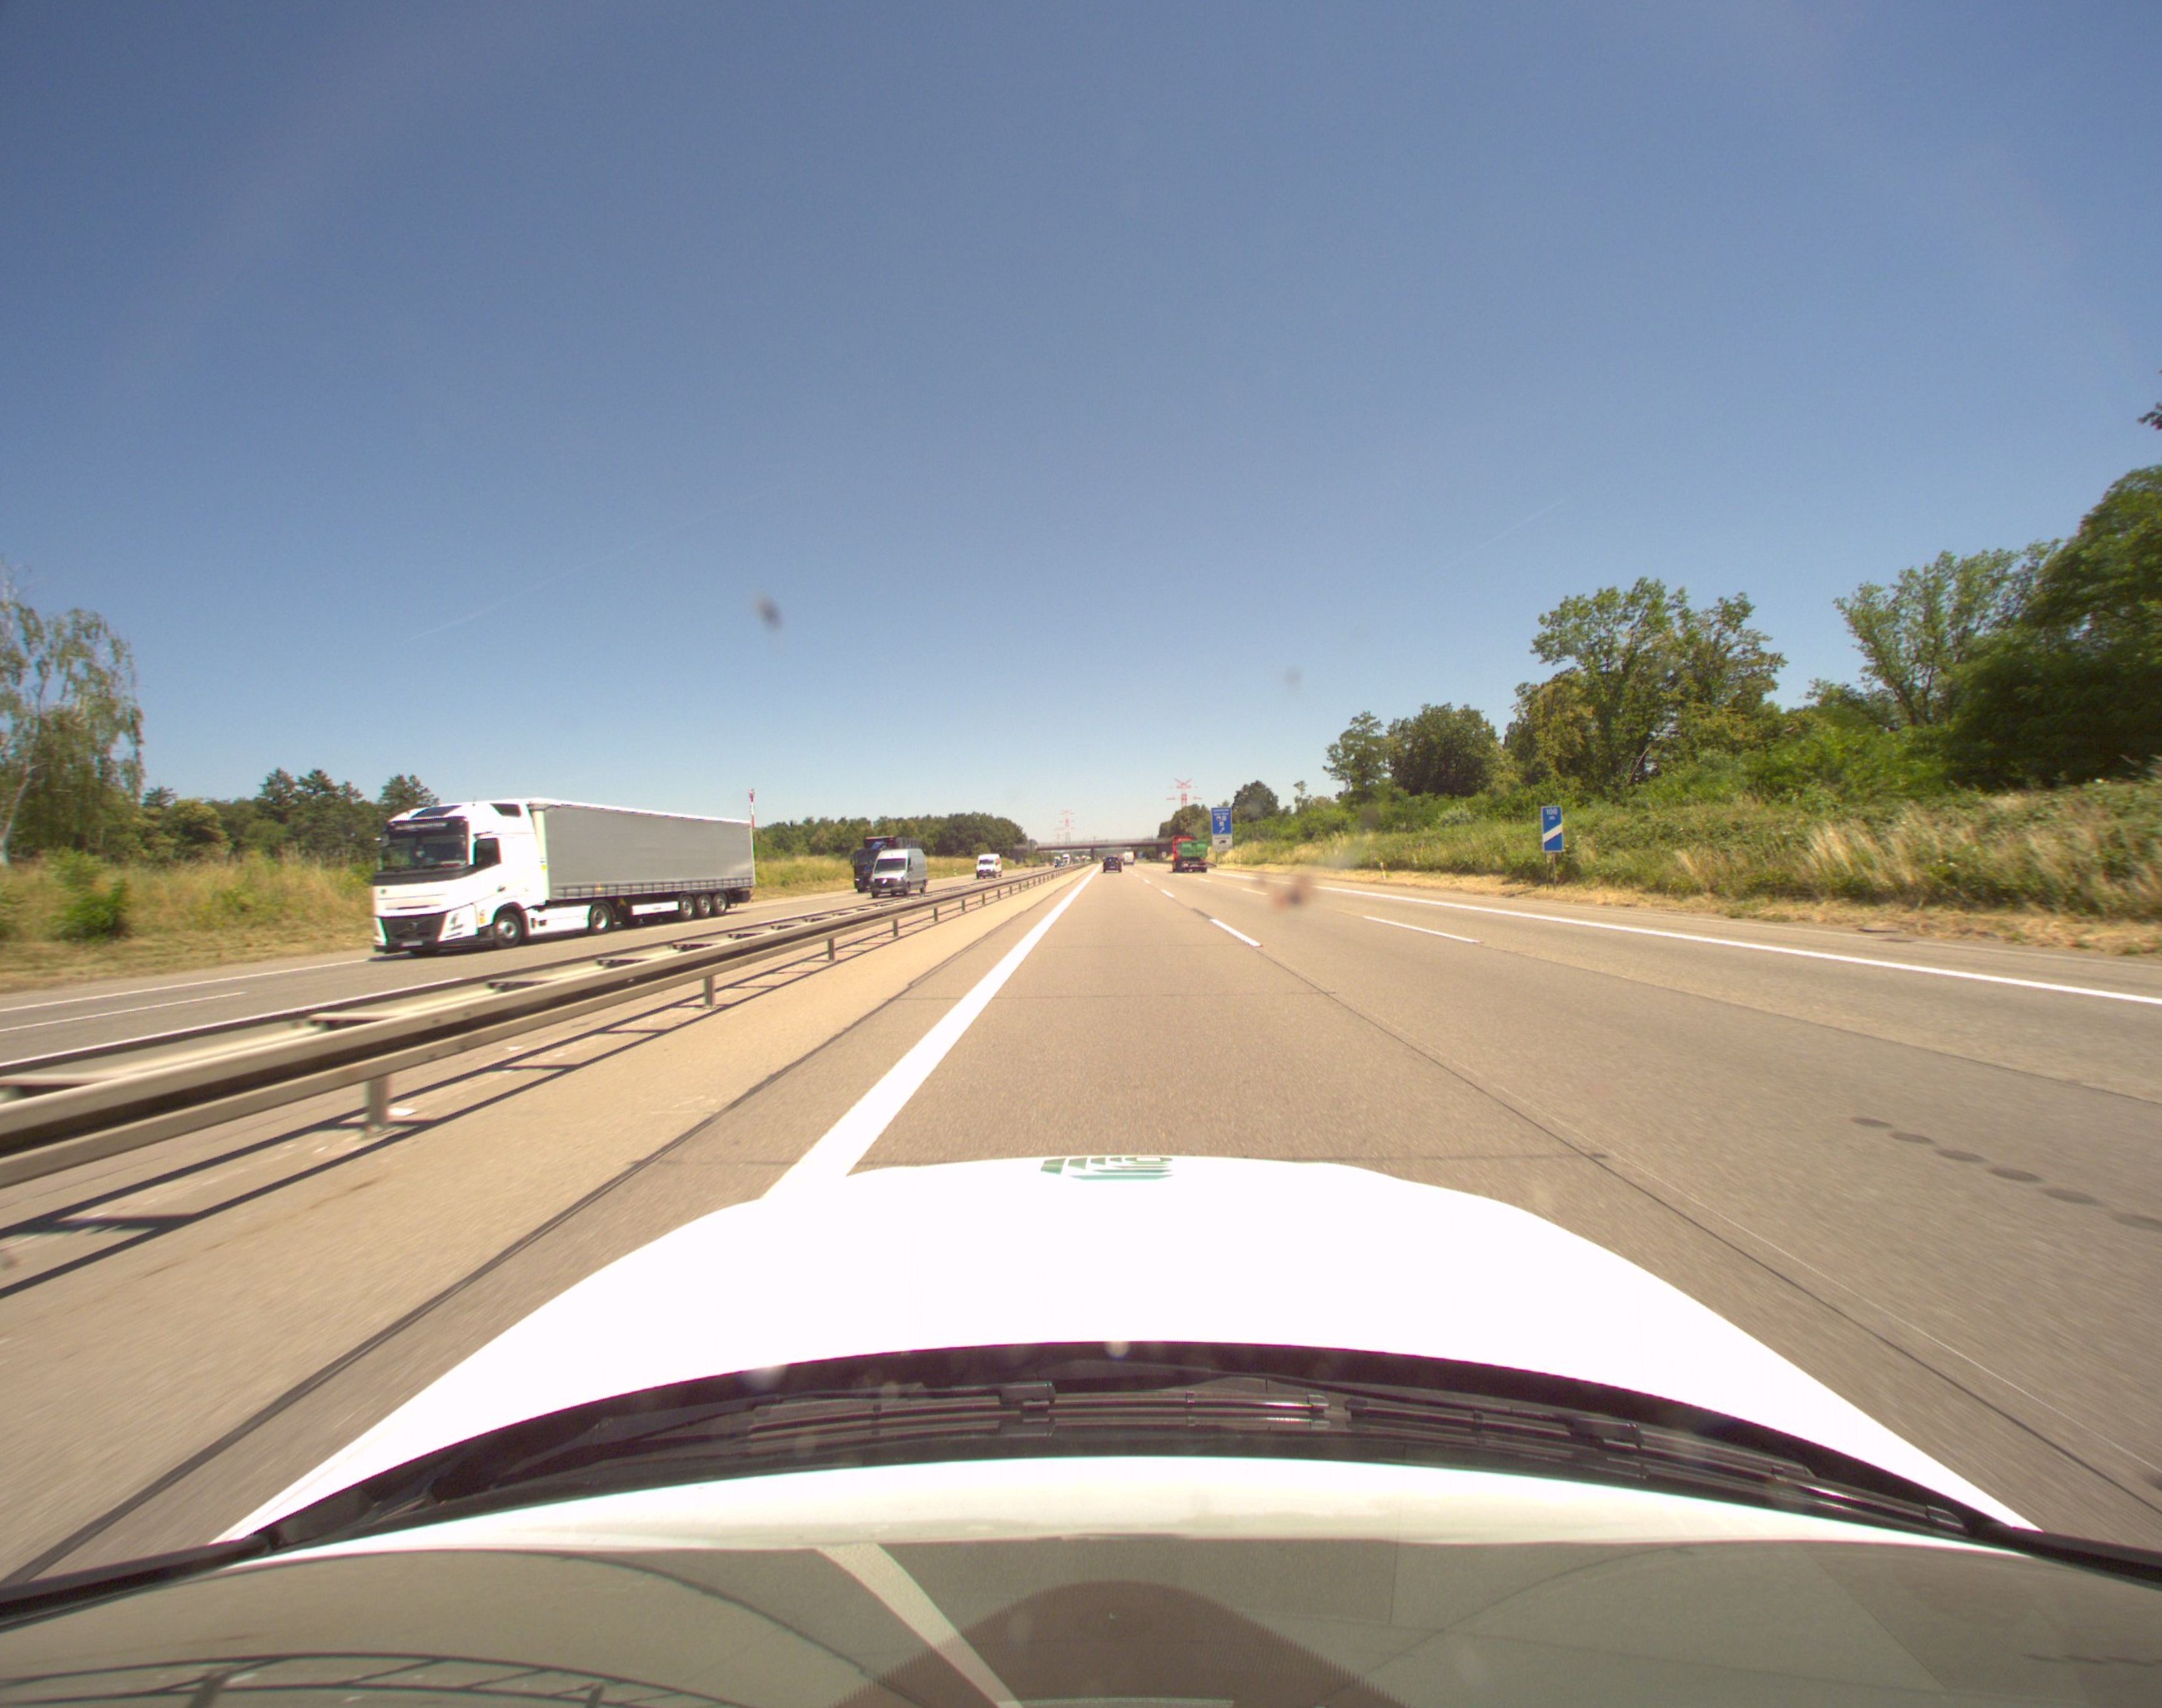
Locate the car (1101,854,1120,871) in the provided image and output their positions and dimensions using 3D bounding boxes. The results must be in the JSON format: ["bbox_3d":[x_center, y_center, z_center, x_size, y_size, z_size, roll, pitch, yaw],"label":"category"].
[{"bbox_3d":[3.121,0.927,86.775,1.986,1.750,4.001,-1,0,2],"label":"car"}]

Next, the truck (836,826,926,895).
[{"bbox_3d":[-15.308,0.474,63.662,3.364,4.625,12.192,-4,-1,2],"label":"truck"}]

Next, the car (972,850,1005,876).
[{"bbox_3d":[-9.921,0.948,87.934,2.355,2.448,7.135,-4,0,2],"label":"car"}]

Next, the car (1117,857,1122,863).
[{"bbox_3d":[12.217,1.891,257.646,1.740,1.634,4.005,-1,0,2],"label":"car"}]

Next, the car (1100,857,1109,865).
[{"bbox_3d":[5.029,1.473,175.637,1.787,1.750,4.001,-1,0,2],"label":"car"}]

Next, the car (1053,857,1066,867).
[{"bbox_3d":[-4.388,1.550,167.863,2.355,1.895,5.226,-4,0,1],"label":"car"}]

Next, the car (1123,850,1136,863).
[{"bbox_3d":[10.057,0.496,168.920,2.611,2.759,6.099,-1,0,2],"label":"car"}]

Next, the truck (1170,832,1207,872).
[{"bbox_3d":[11.070,-0.182,85.053,2.670,3.798,12.483,-1,0,2],"label":"truck"}]

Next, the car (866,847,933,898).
[{"bbox_3d":[-10.056,0.980,45.699,1.986,2.570,6.393,-4,0,2],"label":"car"}]

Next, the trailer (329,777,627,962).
[{"bbox_3d":[-16.200,0.384,22.645,3.143,4.198,6.328,-4,0,2],"label":"trailer"}]

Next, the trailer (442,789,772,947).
[{"bbox_3d":[-15.977,0.413,29.880,3.143,4.198,14.131,-4,0,2],"label":"trailer"}]
